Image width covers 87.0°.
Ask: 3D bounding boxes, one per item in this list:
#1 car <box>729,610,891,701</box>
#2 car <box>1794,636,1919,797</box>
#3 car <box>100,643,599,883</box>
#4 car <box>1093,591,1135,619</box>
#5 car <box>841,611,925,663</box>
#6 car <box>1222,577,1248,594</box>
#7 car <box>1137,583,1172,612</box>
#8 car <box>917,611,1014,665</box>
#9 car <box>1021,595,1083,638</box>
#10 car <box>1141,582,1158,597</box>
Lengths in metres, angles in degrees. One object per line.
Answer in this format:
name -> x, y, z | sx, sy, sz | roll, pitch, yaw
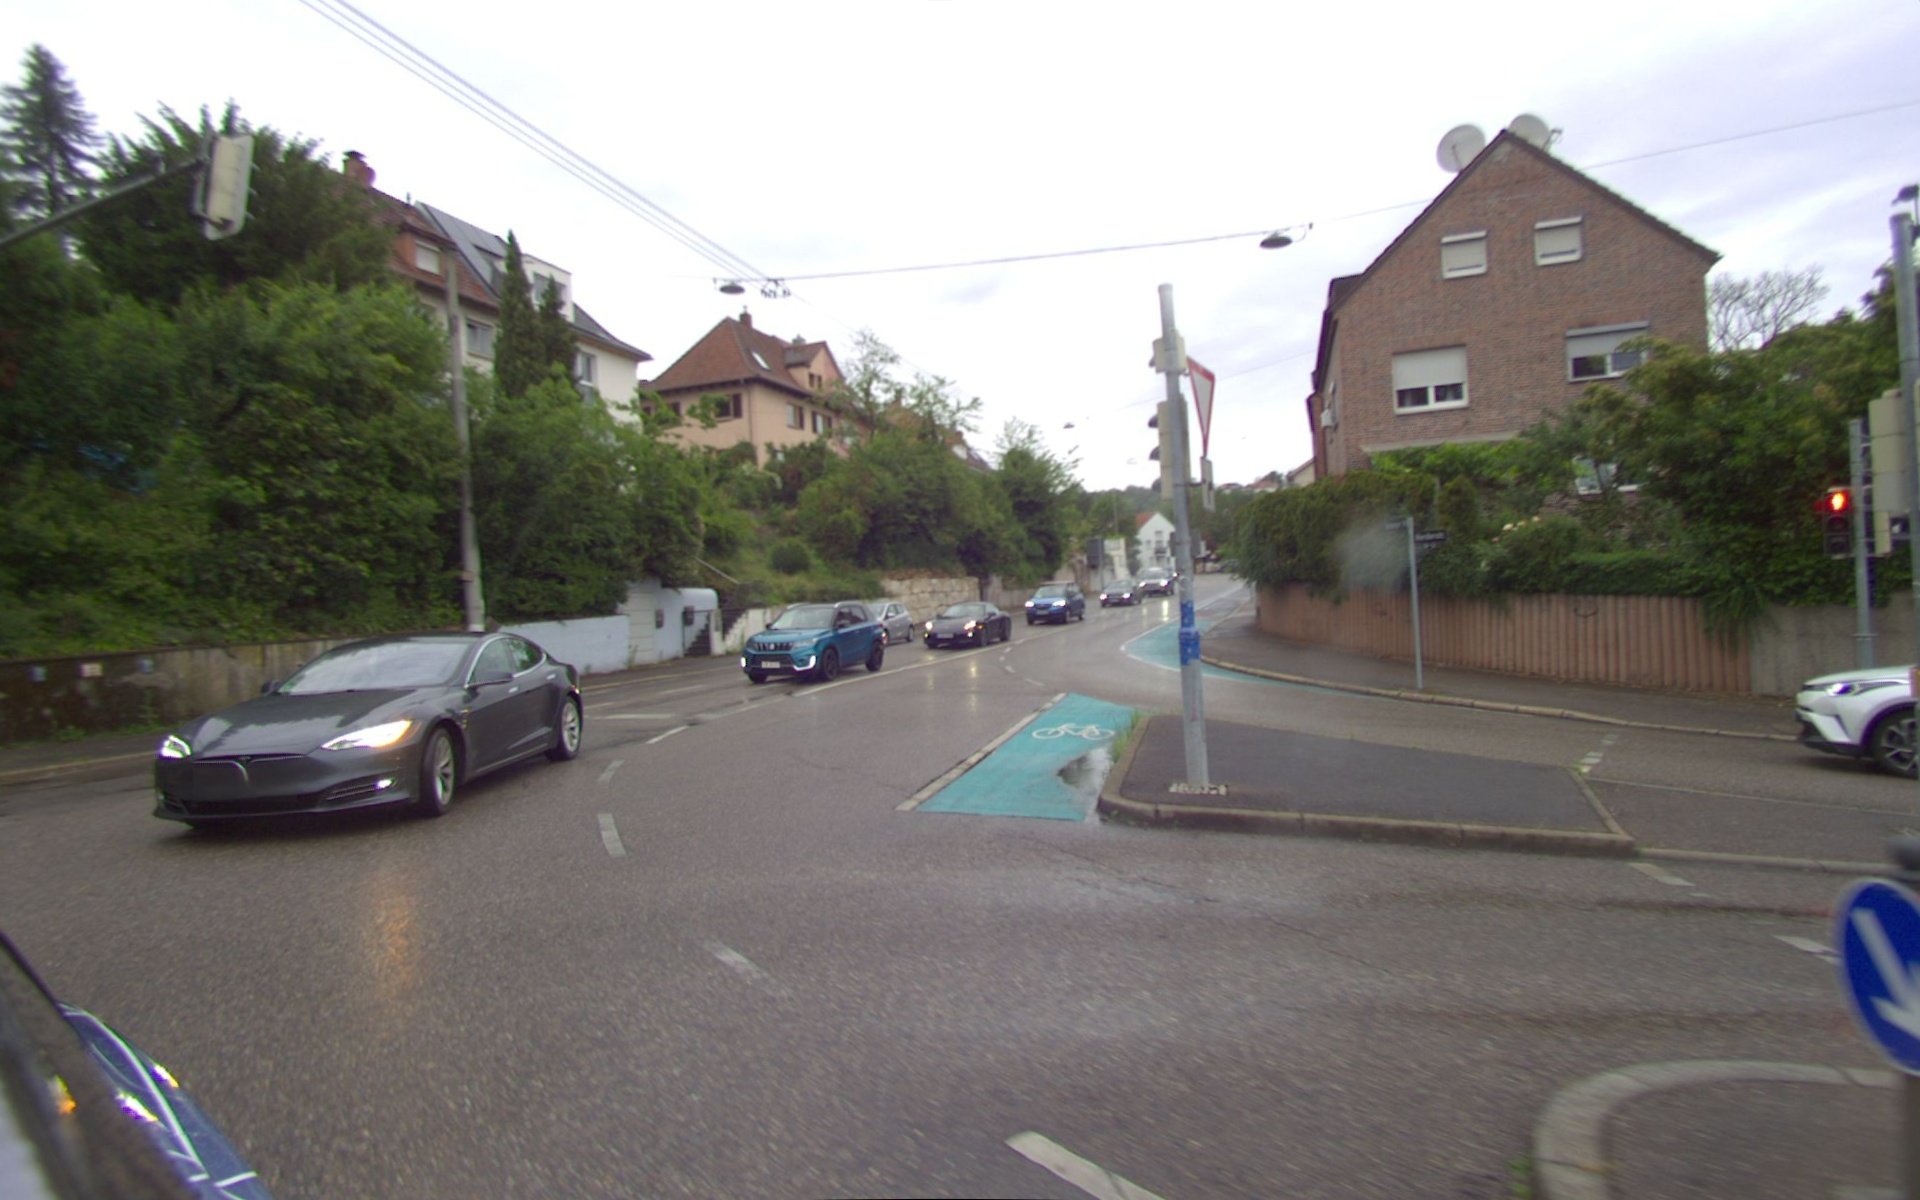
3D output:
car -> -3.051, 1.104, 21.454 | 1.787, 1.622, 4.019 | -4, -1, 17
car -> 10.571, 1.098, 9.367 | 4.252, 1.478, 1.692 | -1, -1, 36
car -> -4.906, 1.194, 9.009 | 1.811, 1.402, 4.324 | -3, -1, 0
car -> 8.583, 0.277, 56.315 | 1.744, 1.471, 4.020 | -2, -1, 16
car -> -2.548, 1.216, 34.222 | 1.541, 1.462, 3.345 | -4, 0, 19
car -> 32.798, -1.748, 120.820 | 1.748, 1.772, 4.324 | -3, -1, 0
car -> 12.847, -0.169, 66.630 | 1.744, 1.662, 4.020 | -6, -1, 16
car -> 0.239, 1.114, 30.655 | 1.745, 1.471, 4.016 | -2, -1, 19
car -> 3.861, 0.655, 41.874 | 1.744, 1.662, 4.019 | -2, -1, 17
car -> 19.645, -1.063, 104.772 | 1.598, 1.410, 3.355 | -4, 0, 10
